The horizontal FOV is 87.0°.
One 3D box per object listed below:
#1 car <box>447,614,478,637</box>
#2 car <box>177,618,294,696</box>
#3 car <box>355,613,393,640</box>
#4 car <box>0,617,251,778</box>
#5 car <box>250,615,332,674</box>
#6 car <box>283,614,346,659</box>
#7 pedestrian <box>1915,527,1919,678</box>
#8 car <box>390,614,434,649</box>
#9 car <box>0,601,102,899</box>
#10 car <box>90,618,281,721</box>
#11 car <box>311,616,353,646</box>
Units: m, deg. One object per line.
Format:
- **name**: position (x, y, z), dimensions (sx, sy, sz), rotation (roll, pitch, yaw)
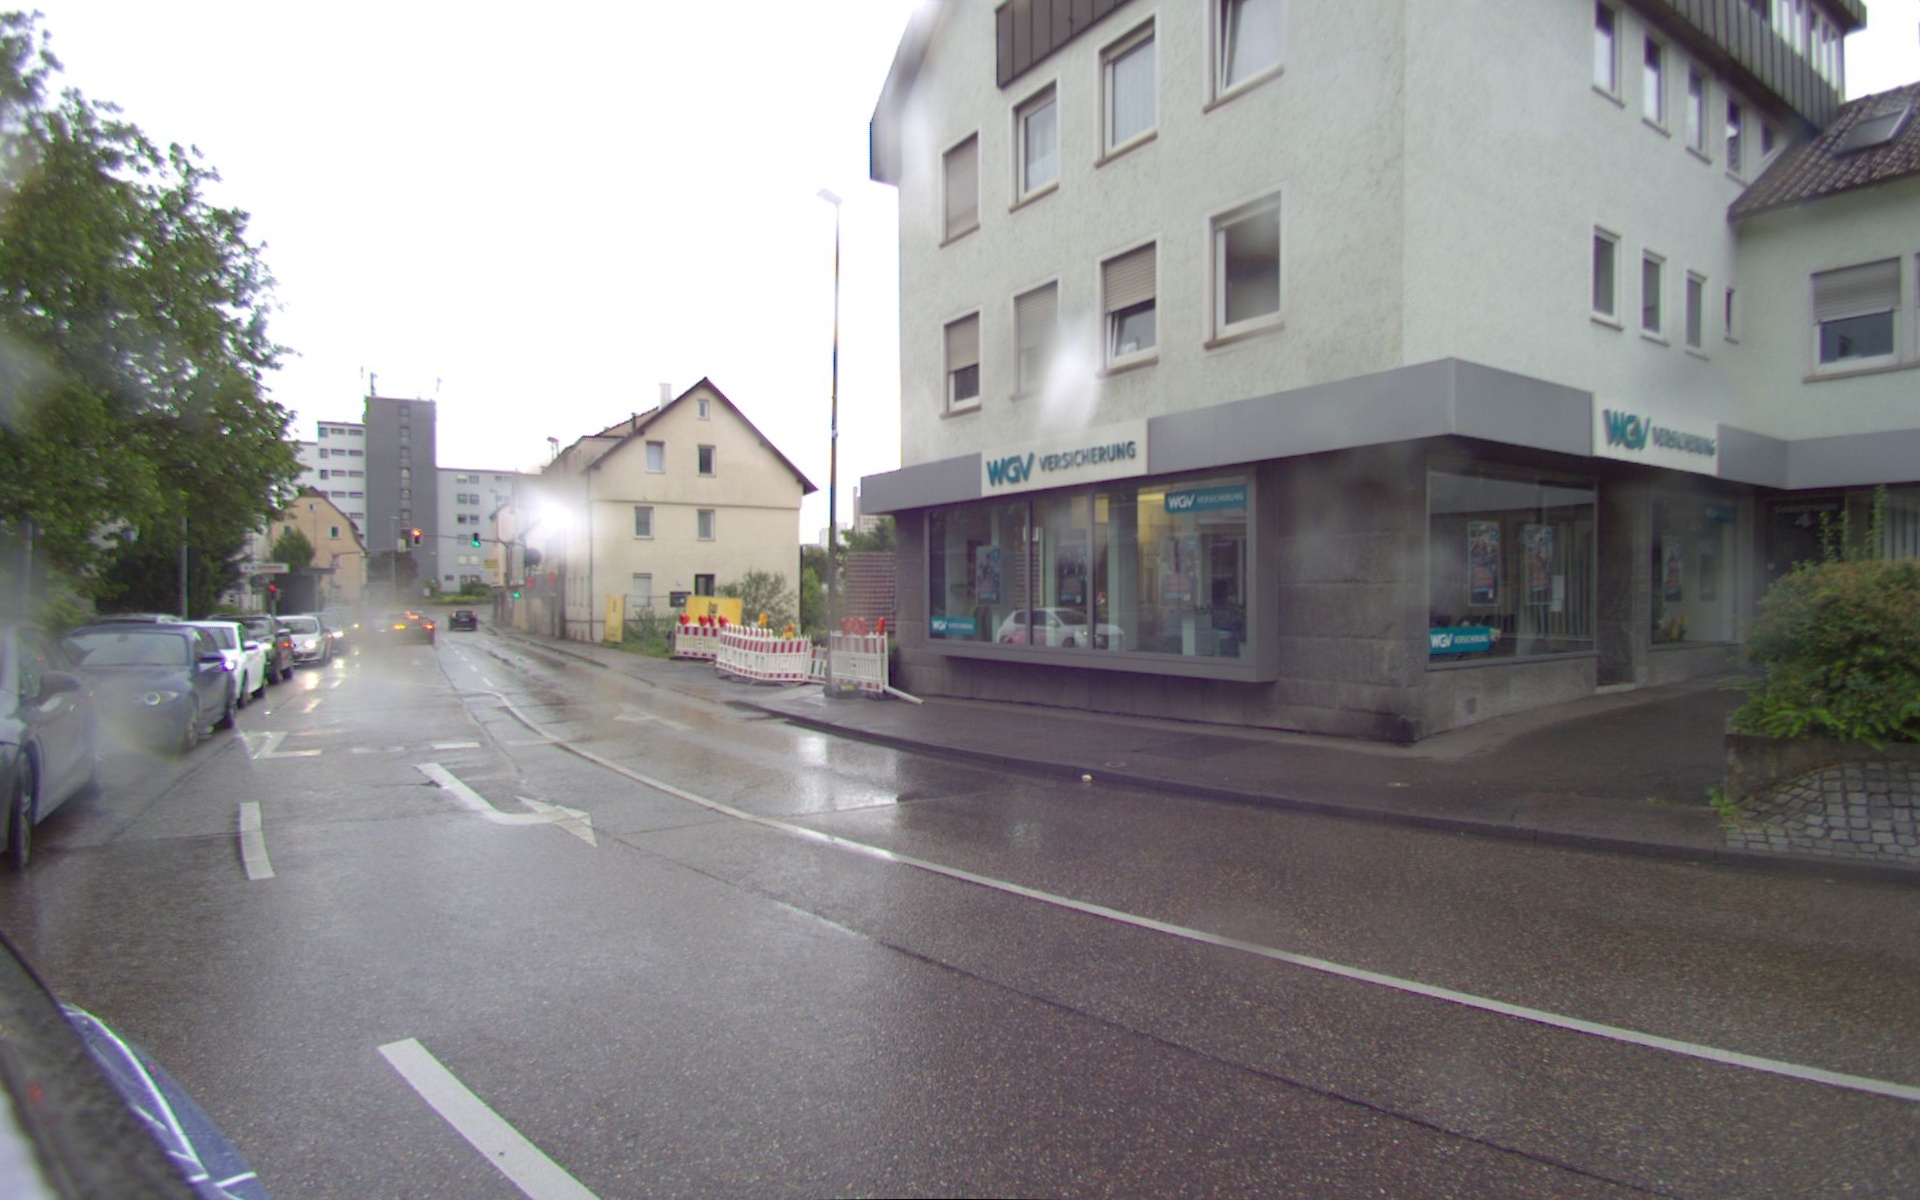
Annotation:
- **car**: position (-35.529, 1.818, 72.235), dimensions (1.783, 1.577, 4.013), rotation (1, -1, -29)
- **car**: position (-16.624, 1.241, 23.407), dimensions (1.783, 1.577, 4.012), rotation (-2, 0, -30)
- **car**: position (-38.763, 1.758, 66.920), dimensions (1.966, 1.564, 4.010), rotation (1, -5, -33)
- **car**: position (-9.929, 1.002, 12.228), dimensions (1.744, 1.544, 4.391), rotation (-1, 0, -29)
- **car**: position (-20.469, 1.309, 31.104), dimensions (1.814, 1.633, 4.012), rotation (-1, 0, -29)
- **car**: position (-25.041, 1.379, 39.355), dimensions (1.802, 1.563, 4.012), rotation (-2, 0, -29)
- **pedestrian**: position (11.357, 0.076, 11.469), dimensions (0.608, 1.833, 0.674), rotation (-1, 0, -41)
- **car**: position (-26.687, 1.500, 49.311), dimensions (1.783, 1.577, 4.012), rotation (-2, 0, -29)
- **car**: position (-6.889, 0.809, 6.337), dimensions (1.967, 1.504, 4.324), rotation (-1, 0, -36)
- **car**: position (-13.302, 1.103, 17.658), dimensions (1.966, 1.464, 4.013), rotation (-2, 0, -28)
- **car**: position (-33.187, 1.613, 53.534), dimensions (1.823, 1.489, 4.012), rotation (-1, 0, -32)
